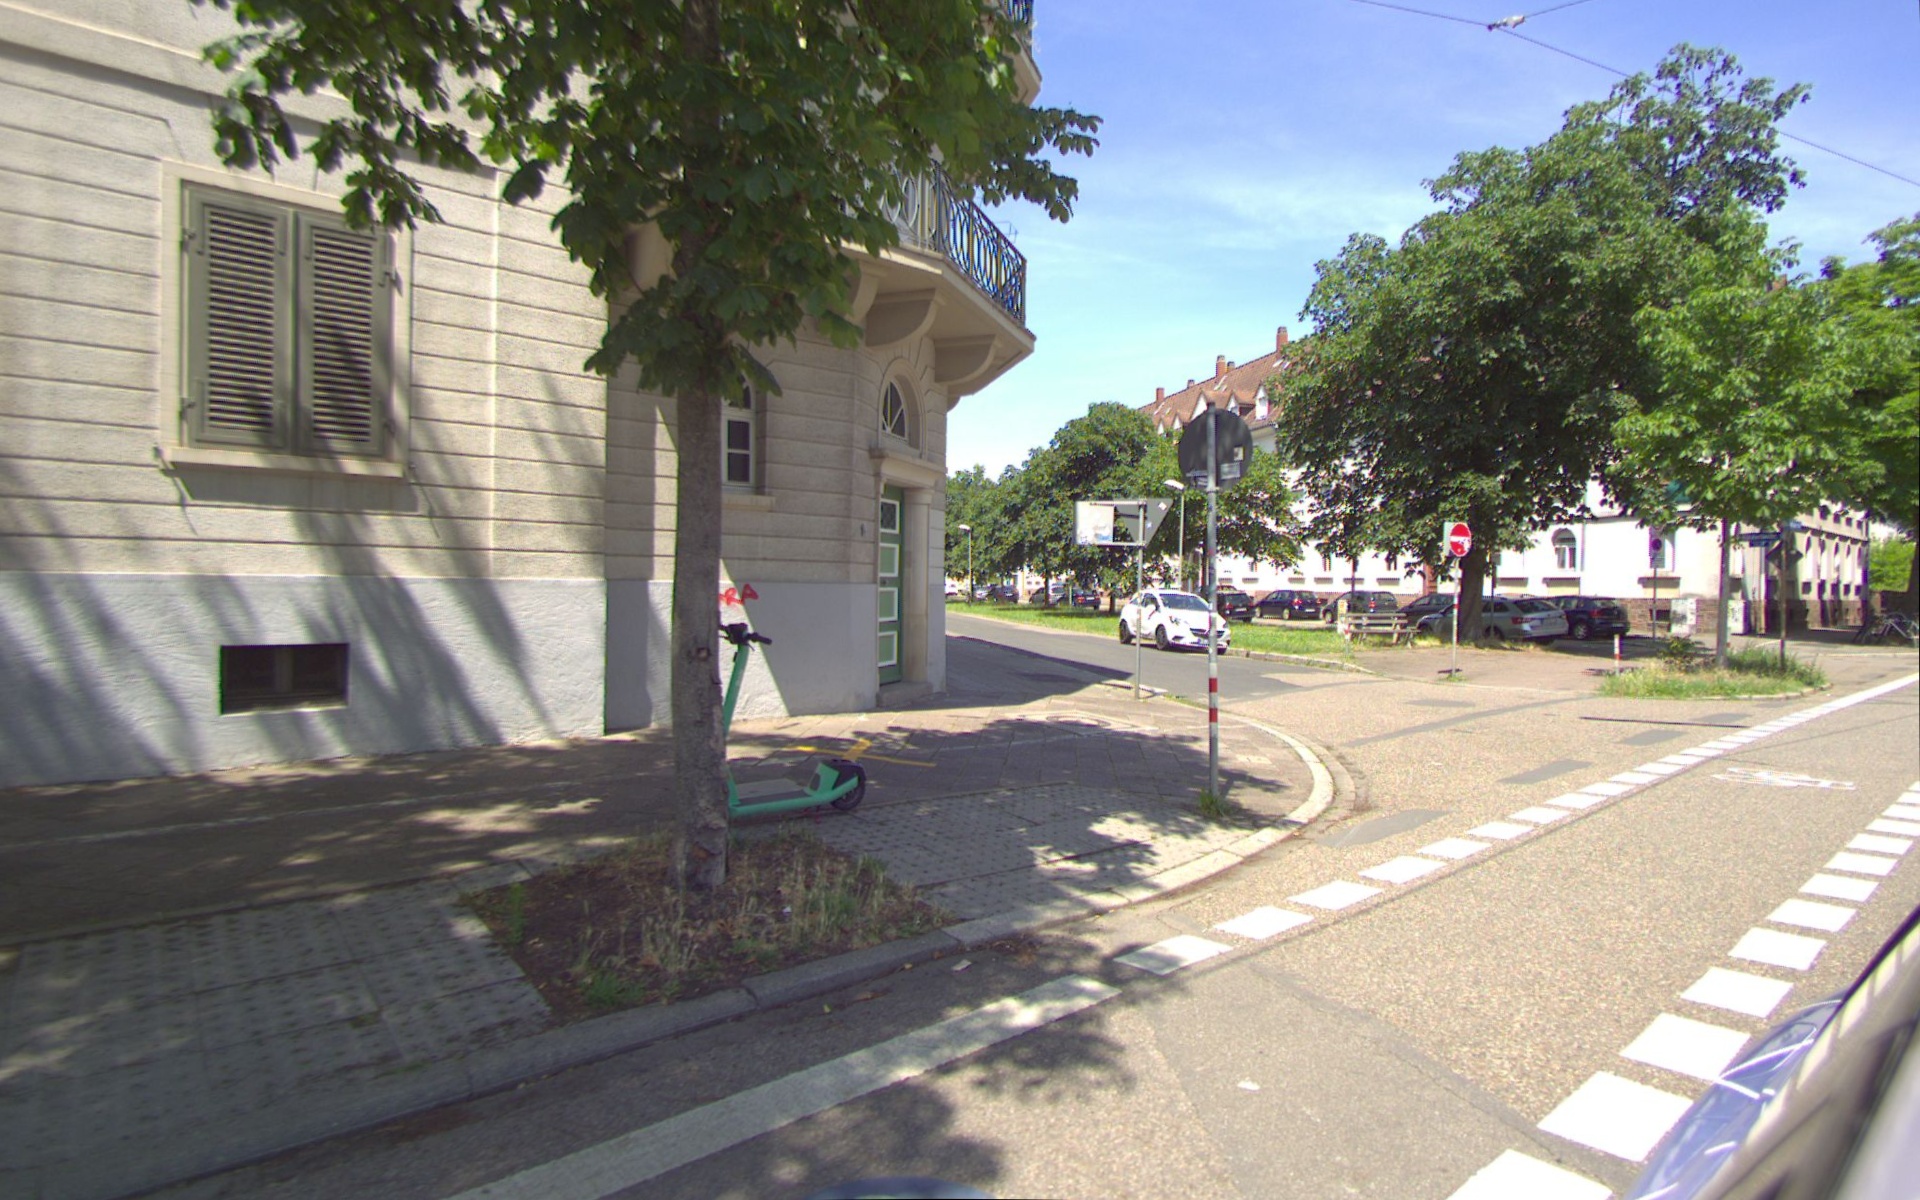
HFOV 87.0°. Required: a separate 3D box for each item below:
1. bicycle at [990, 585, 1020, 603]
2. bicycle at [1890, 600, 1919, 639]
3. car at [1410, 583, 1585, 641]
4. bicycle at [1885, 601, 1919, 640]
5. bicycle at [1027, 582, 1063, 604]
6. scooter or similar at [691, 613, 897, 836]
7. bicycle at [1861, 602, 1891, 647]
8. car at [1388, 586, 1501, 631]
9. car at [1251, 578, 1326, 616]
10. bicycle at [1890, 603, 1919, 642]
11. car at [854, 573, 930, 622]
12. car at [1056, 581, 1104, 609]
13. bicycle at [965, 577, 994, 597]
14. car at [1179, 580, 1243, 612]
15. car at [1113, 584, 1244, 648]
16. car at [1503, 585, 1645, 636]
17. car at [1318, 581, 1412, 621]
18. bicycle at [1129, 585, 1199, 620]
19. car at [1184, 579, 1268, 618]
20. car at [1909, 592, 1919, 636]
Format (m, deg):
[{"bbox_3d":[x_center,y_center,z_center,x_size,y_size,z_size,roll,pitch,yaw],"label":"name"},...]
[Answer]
[{"bbox_3d":[3.528,-0.471,80.304,1.584,1.323,3.426,0,2,-11],"label":"bicycle"},{"bbox_3d":[31.063,0.635,32.267,0.436,1.215,2.043,-1,1,-30],"label":"bicycle"},{"bbox_3d":[15.412,0.329,29.343,1.837,1.534,4.685,1,0,-13],"label":"car"},{"bbox_3d":[30.653,0.670,31.981,0.436,1.215,2.043,-1,1,-30],"label":"bicycle"},{"bbox_3d":[5.772,-0.486,68.834,1.542,1.410,3.751,0,1,-10],"label":"bicycle"},{"bbox_3d":[-0.951,0.677,5.972,1.230,1.175,0.296,0,1,-42],"label":"scooter or similar"},{"bbox_3d":[26.634,0.699,29.440,0.281,1.215,1.611,0,1,30],"label":"bicycle"},{"bbox_3d":[18.607,0.281,39.034,1.783,1.521,4.009,-2,2,-13],"label":"car"},{"bbox_3d":[16.023,-0.186,49.564,1.618,1.751,4.009,0,2,-13],"label":"car"},{"bbox_3d":[27.343,0.654,28.858,0.274,1.076,1.170,-1,2,-37],"label":"bicycle"},{"bbox_3d":[-2.592,-0.131,37.818,1.958,1.730,4.009,0,1,-17],"label":"car"},{"bbox_3d":[7.491,-0.345,63.610,1.728,1.701,3.905,0,2,-13],"label":"car"},{"bbox_3d":[1.670,-1.157,88.350,1.747,1.610,4.008,0,2,-10],"label":"bicycle"},{"bbox_3d":[14.290,-0.274,57.858,1.796,1.678,4.009,-2,2,-16],"label":"car"},{"bbox_3d":[5.370,0.335,25.405,1.815,1.437,4.007,0,1,-10],"label":"car"},{"bbox_3d":[20.090,0.299,33.305,1.611,1.465,3.893,-1,2,-18],"label":"car"},{"bbox_3d":[17.594,0.010,44.189,1.830,1.599,4.009,0,2,-13],"label":"car"},{"bbox_3d":[10.205,0.083,50.936,1.800,1.666,4.009,0,2,-16],"label":"bicycle"},{"bbox_3d":[11.731,-0.119,44.931,1.958,1.601,4.009,0,2,-14],"label":"car"},{"bbox_3d":[34.252,0.501,35.022,3.567,1.470,1.596,0,3,-40],"label":"car"}]
